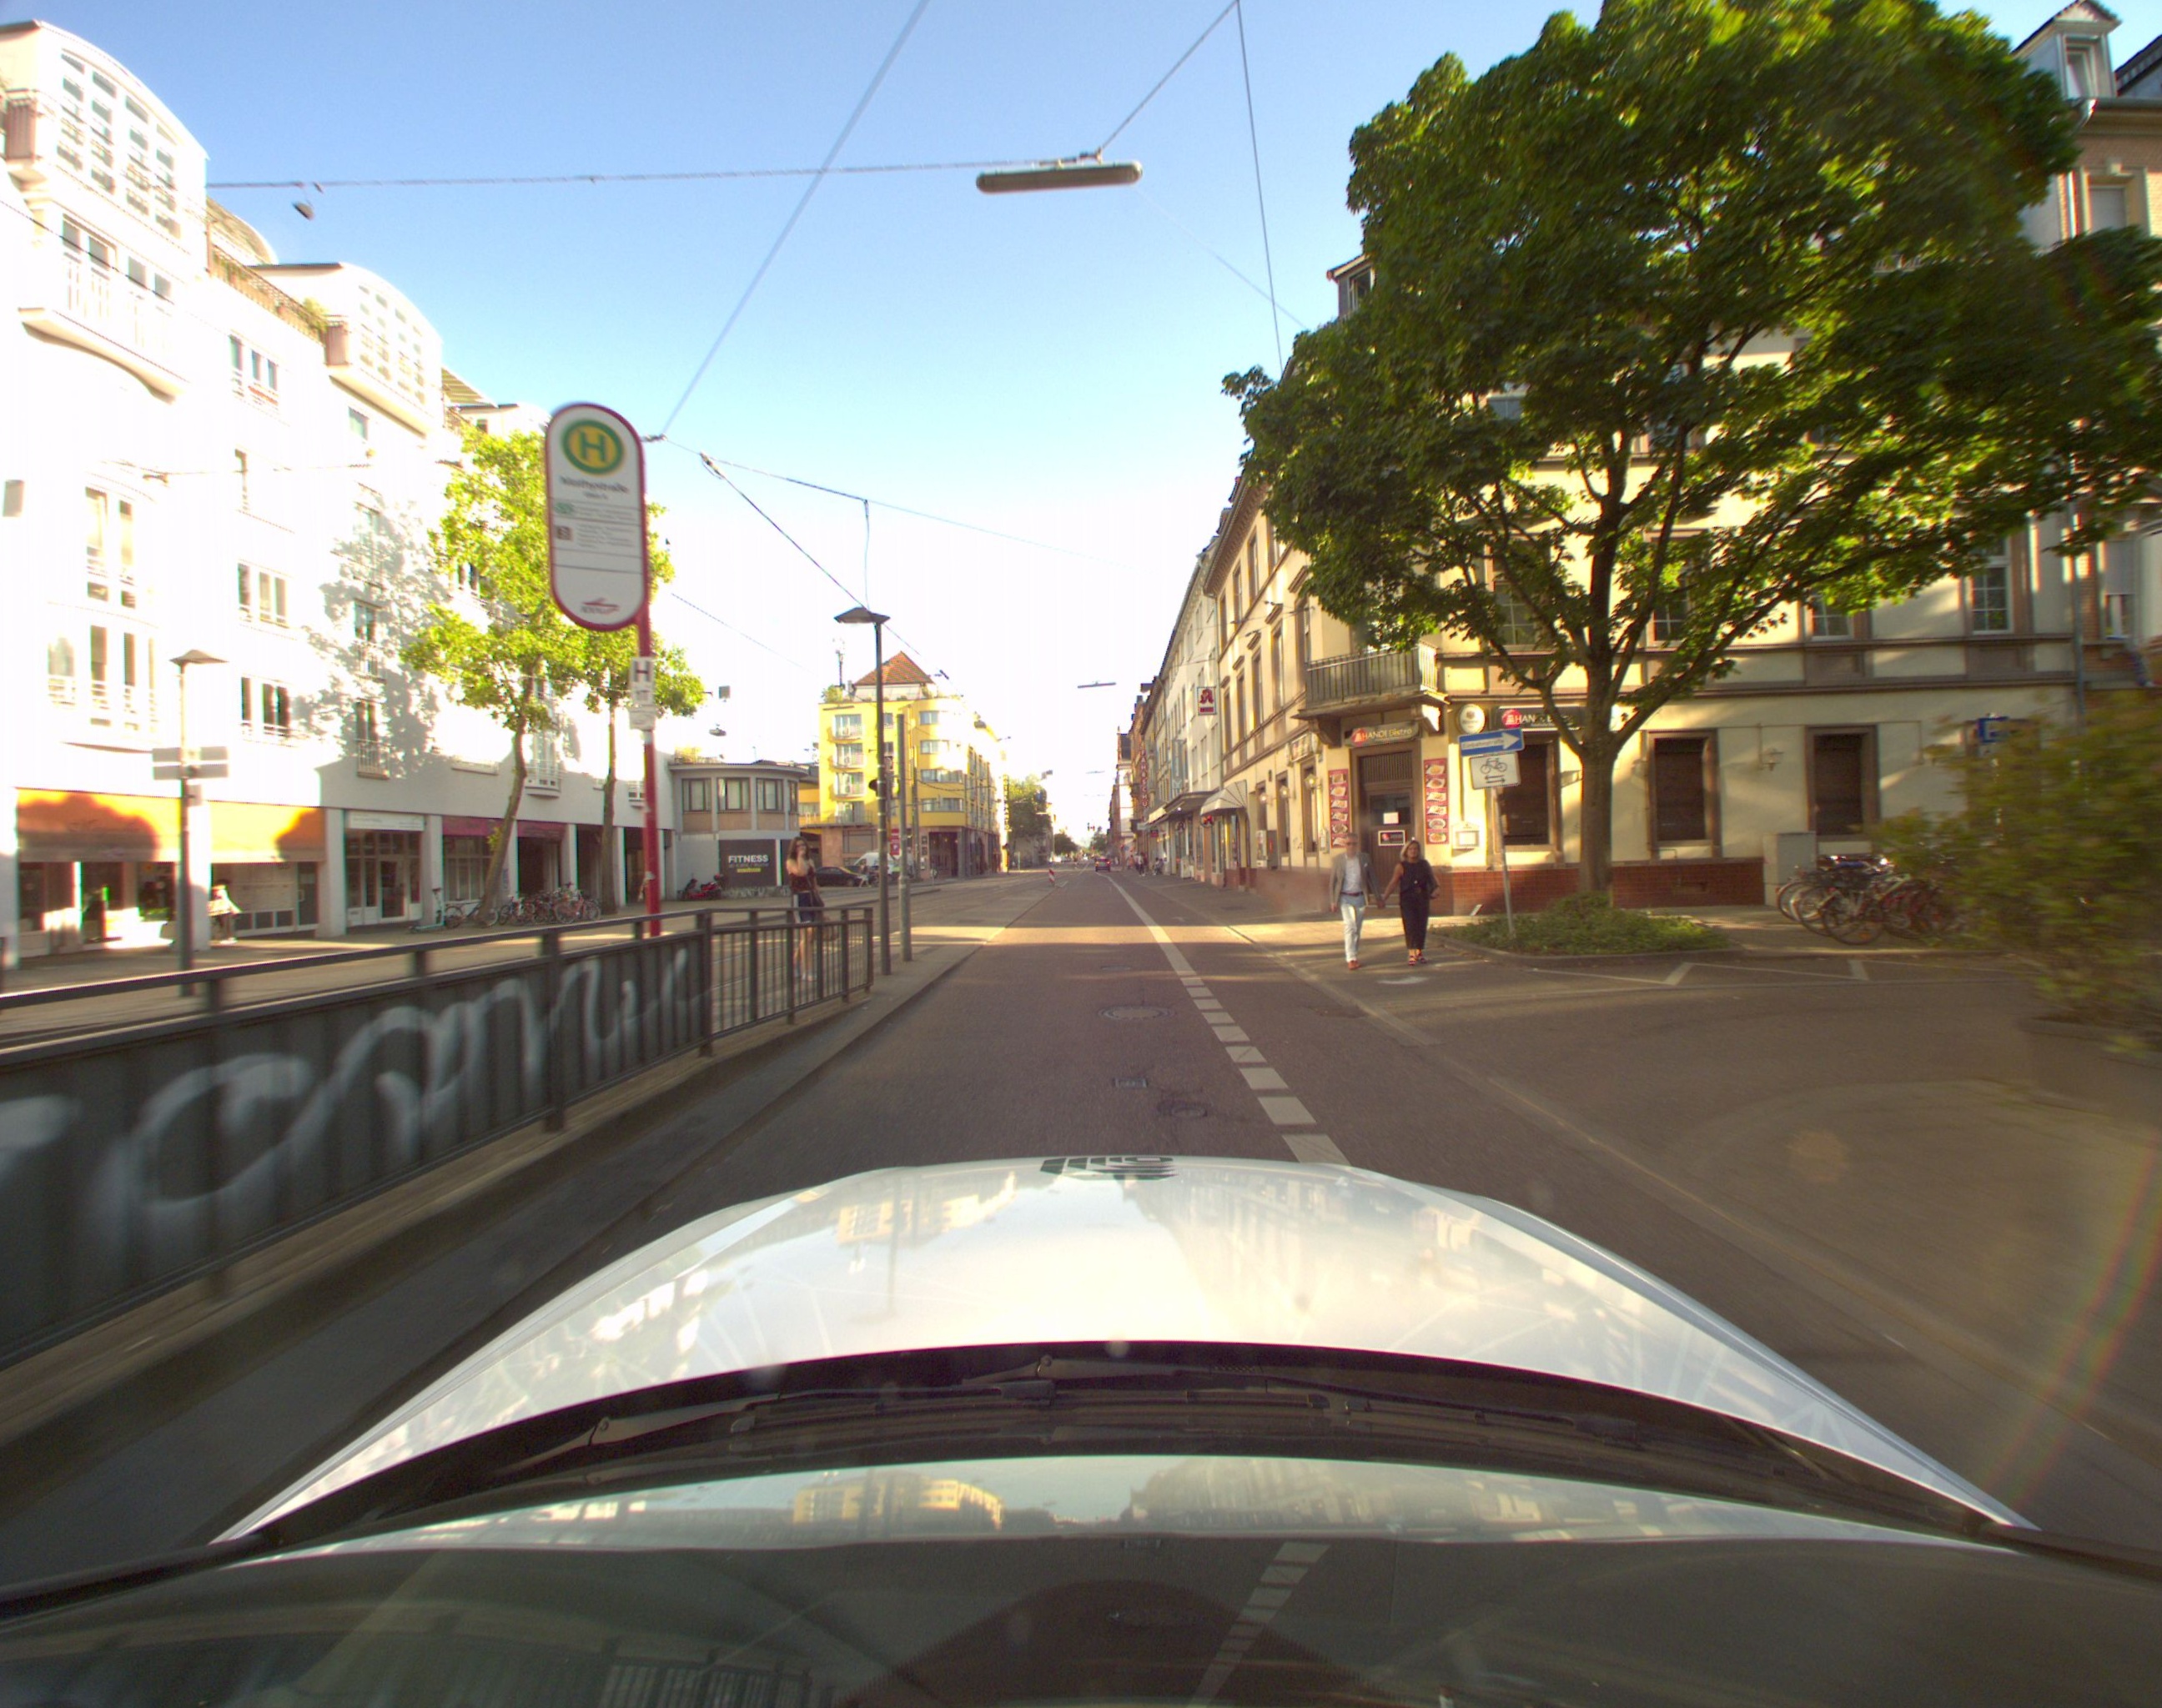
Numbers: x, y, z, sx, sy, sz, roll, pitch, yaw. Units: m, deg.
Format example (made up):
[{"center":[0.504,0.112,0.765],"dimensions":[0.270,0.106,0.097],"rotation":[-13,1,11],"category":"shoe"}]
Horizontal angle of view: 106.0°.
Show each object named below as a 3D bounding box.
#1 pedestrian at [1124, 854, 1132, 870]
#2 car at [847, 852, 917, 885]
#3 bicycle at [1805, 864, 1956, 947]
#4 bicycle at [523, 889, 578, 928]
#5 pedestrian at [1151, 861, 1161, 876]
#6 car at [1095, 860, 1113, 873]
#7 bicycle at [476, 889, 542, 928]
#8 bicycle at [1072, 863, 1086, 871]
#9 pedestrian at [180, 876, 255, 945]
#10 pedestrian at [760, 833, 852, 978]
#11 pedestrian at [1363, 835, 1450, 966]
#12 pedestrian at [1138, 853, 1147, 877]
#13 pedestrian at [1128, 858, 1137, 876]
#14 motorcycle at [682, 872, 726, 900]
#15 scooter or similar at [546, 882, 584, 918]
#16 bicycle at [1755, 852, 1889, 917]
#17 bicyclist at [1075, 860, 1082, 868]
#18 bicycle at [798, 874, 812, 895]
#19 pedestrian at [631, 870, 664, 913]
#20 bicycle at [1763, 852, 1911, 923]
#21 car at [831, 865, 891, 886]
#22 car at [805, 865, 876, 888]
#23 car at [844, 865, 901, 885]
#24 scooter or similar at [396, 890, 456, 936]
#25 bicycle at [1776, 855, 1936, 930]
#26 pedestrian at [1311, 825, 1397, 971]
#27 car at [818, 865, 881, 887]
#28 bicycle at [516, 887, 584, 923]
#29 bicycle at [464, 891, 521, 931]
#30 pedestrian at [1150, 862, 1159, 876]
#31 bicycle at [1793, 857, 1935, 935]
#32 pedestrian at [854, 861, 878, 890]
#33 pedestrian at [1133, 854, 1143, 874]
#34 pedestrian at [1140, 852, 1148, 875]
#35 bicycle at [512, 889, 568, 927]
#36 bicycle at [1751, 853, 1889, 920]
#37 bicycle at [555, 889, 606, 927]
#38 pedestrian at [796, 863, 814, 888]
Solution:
[{"center":[5.547,0.946,95.398],"dimensions":[0.840,1.918,0.847],"rotation":[-1,-1,-1],"category":"pedestrian"},{"center":[-16.171,1.168,66.243],"dimensions":[5.087,2.576,2.129],"rotation":[-1,-1,1],"category":"car"},{"center":[10.255,0.654,10.486],"dimensions":[1.309,1.014,0.461],"rotation":[-1,1,20],"category":"bicycle"},{"center":[-16.881,1.717,25.978],"dimensions":[0.496,1.107,1.801],"rotation":[1,0,2],"category":"bicycle"},{"center":[5.561,1.086,60.629],"dimensions":[0.687,1.043,0.681],"rotation":[-2,-1,5],"category":"pedestrian"},{"center":[2.689,1.501,96.545],"dimensions":[1.987,1.449,4.000],"rotation":[-1,-1,1],"category":"car"},{"center":[-18.007,1.692,25.680],"dimensions":[0.495,1.107,1.806],"rotation":[1,0,13],"category":"bicycle"},{"center":[-0.315,1.946,120.878],"dimensions":[1.918,1.003,0.758],"rotation":[-2,-1,18],"category":"bicycle"},{"center":[-21.564,1.389,20.354],"dimensions":[0.856,1.661,0.879],"rotation":[1,-1,-2],"category":"pedestrian"},{"center":[-3.377,0.613,10.067],"dimensions":[0.867,1.714,0.787],"rotation":[1,0,-2],"category":"pedestrian"},{"center":[4.256,0.587,10.692],"dimensions":[0.711,1.602,0.772],"rotation":[-4,0,-2],"category":"pedestrian"},{"center":[4.661,0.808,61.472],"dimensions":[0.645,1.796,0.562],"rotation":[-2,-1,5],"category":"pedestrian"},{"center":[5.324,1.358,84.814],"dimensions":[0.840,1.918,0.661],"rotation":[-1,-1,-1],"category":"pedestrian"},{"center":[-18.151,1.545,39.229],"dimensions":[1.791,1.298,0.605],"rotation":[1,-1,-6],"category":"motorcycle"},{"center":[-18.341,1.620,28.961],"dimensions":[0.496,1.193,1.272],"rotation":[-2,-1,2],"category":"scooter or similar"},{"center":[12.290,0.501,13.567],"dimensions":[1.597,1.014,0.461],"rotation":[-1,1,35],"category":"bicycle"},{"center":[-0.351,1.515,120.887],"dimensions":[0.704,1.221,0.758],"rotation":[-2,-1,19],"category":"bicyclist"},{"center":[-15.420,1.691,45.483],"dimensions":[0.499,1.107,1.793],"rotation":[-1,-1,-11],"category":"bicycle"},{"center":[-17.047,1.472,32.057],"dimensions":[1.018,1.661,0.914],"rotation":[1,-1,-23],"category":"pedestrian"},{"center":[11.544,0.502,12.499],"dimensions":[1.597,1.014,0.461],"rotation":[-1,1,35],"category":"bicycle"},{"center":[-16.463,1.616,61.127],"dimensions":[3.972,1.510,1.801],"rotation":[-1,-1,1],"category":"car"},{"center":[-16.446,1.515,55.835],"dimensions":[4.304,1.510,1.801],"rotation":[-1,-1,1],"category":"car"},{"center":[-16.280,1.641,63.657],"dimensions":[3.972,1.510,1.801],"rotation":[-1,-1,1],"category":"car"},{"center":[-18.556,1.643,23.104],"dimensions":[0.495,1.193,1.276],"rotation":[1,0,13],"category":"scooter or similar"},{"center":[11.097,0.539,11.723],"dimensions":[1.597,1.014,0.461],"rotation":[-1,1,35],"category":"bicycle"},{"center":[3.518,0.541,10.551],"dimensions":[0.711,1.774,0.772],"rotation":[-4,0,-2],"category":"pedestrian"},{"center":[-16.618,1.588,58.547],"dimensions":[3.972,1.510,1.801],"rotation":[-1,-1,1],"category":"car"},{"center":[-17.807,1.692,27.342],"dimensions":[0.494,1.107,1.811],"rotation":[1,0,41],"category":"bicycle"},{"center":[-17.685,1.694,24.491],"dimensions":[0.494,1.107,1.279],"rotation":[1,0,28],"category":"bicycle"},{"center":[5.549,1.103,61.518],"dimensions":[0.687,1.043,0.681],"rotation":[-2,-1,5],"category":"pedestrian"},{"center":[10.648,0.560,11.114],"dimensions":[1.308,1.014,0.461],"rotation":[-1,1,28],"category":"bicycle"},{"center":[-14.027,1.386,53.109],"dimensions":[0.899,1.815,1.159],"rotation":[-2,-1,39],"category":"pedestrian"},{"center":[5.619,1.021,80.271],"dimensions":[0.846,1.918,1.034],"rotation":[-1,-1,-1],"category":"pedestrian"},{"center":[5.050,0.778,64.807],"dimensions":[0.557,1.796,0.652],"rotation":[-2,-1,7],"category":"pedestrian"},{"center":[-17.306,1.712,26.094],"dimensions":[0.496,1.107,1.801],"rotation":[1,0,2],"category":"bicycle"},{"center":[11.902,0.516,13.178],"dimensions":[1.597,1.014,0.461],"rotation":[-1,1,35],"category":"bicycle"},{"center":[-16.339,1.741,26.647],"dimensions":[0.496,1.107,1.801],"rotation":[1,0,2],"category":"bicycle"},{"center":[-19.090,1.484,56.324],"dimensions":[0.896,1.652,0.754],"rotation":[0,-1,-42],"category":"pedestrian"}]
